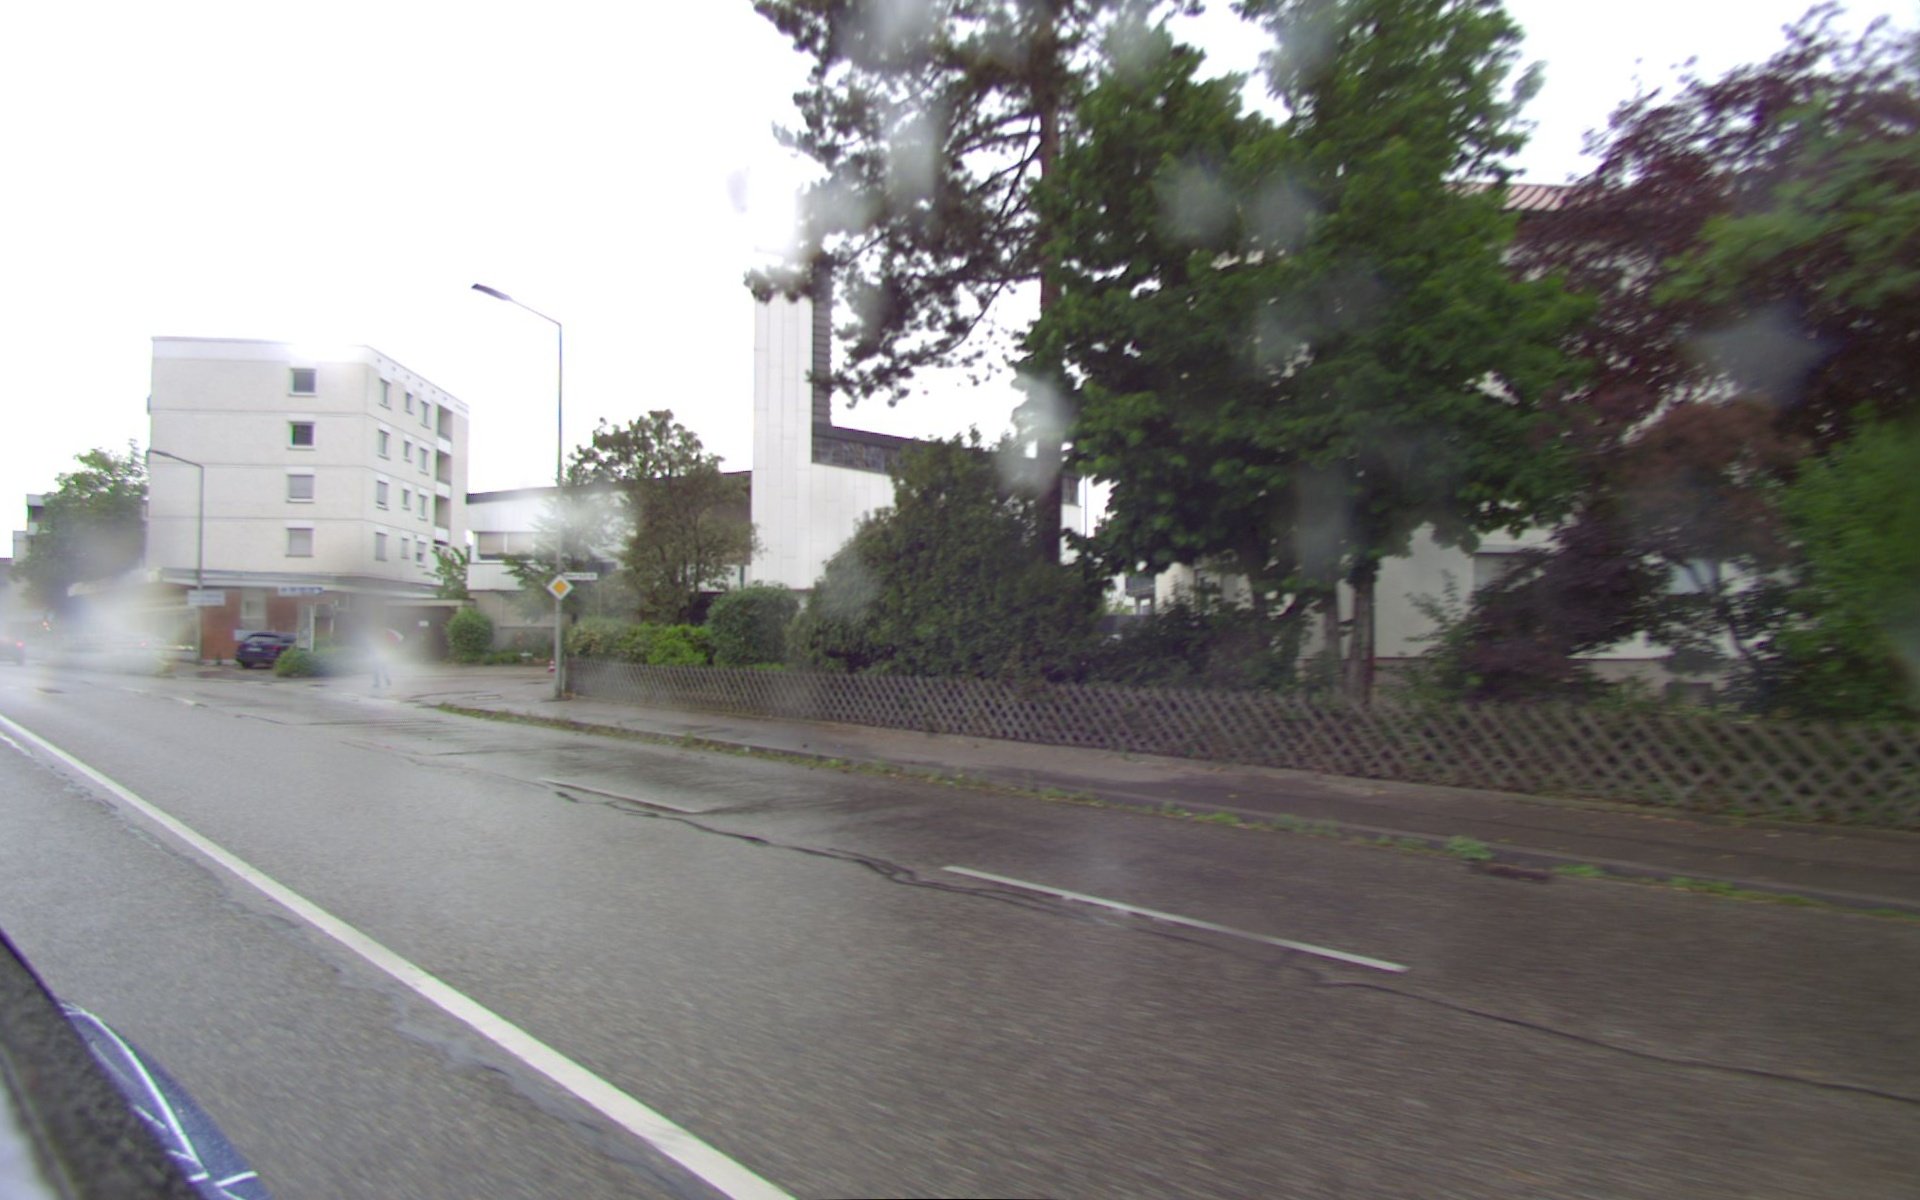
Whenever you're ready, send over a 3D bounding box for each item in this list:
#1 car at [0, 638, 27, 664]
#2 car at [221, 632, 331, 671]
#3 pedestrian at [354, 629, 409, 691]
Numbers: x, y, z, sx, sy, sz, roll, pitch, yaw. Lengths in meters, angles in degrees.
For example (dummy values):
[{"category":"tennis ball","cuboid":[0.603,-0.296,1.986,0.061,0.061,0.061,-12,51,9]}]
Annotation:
[{"category":"car","cuboid":[-54.251,2.898,57.168,3.996,1.420,1.680,-3,-6,39]},{"category":"car","cuboid":[-28.383,2.100,42.189,1.969,1.558,4.477,0,-2,-7]},{"category":"pedestrian","cuboid":[-15.530,1.584,27.157,1.101,1.619,0.862,-1,-2,35]}]
